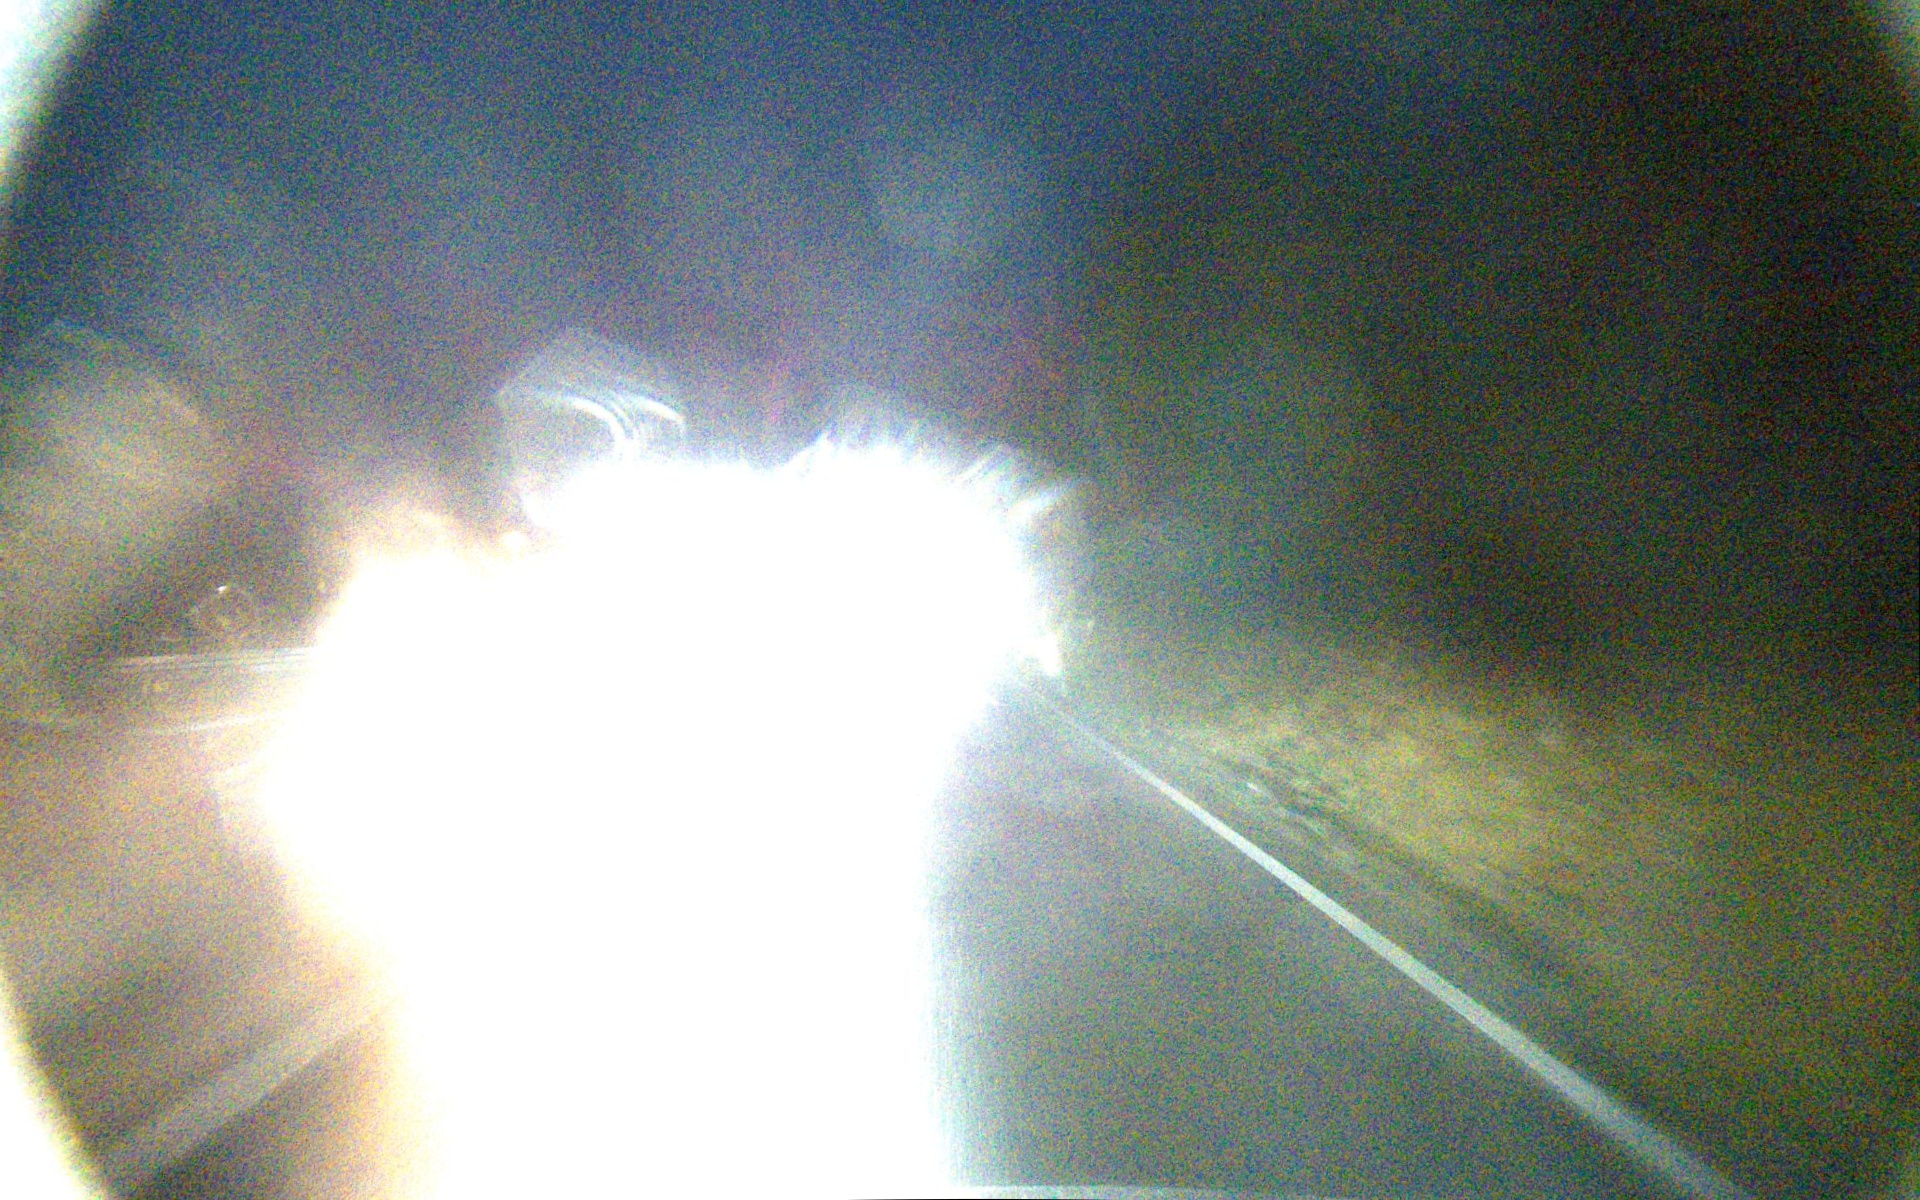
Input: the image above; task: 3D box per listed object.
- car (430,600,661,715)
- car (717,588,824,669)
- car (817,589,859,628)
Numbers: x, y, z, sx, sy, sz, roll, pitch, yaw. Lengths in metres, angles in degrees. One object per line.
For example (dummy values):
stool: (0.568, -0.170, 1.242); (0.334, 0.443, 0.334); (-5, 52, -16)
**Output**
car: (-5.610, 0.718, 23.057); (1.766, 1.407, 4.774); (0, 0, 3)
car: (-4.056, 0.574, 36.029); (1.884, 1.643, 4.084); (0, 0, -1)
car: (-5.548, 0.384, 75.672); (1.620, 1.712, 4.519); (1, 0, -1)
